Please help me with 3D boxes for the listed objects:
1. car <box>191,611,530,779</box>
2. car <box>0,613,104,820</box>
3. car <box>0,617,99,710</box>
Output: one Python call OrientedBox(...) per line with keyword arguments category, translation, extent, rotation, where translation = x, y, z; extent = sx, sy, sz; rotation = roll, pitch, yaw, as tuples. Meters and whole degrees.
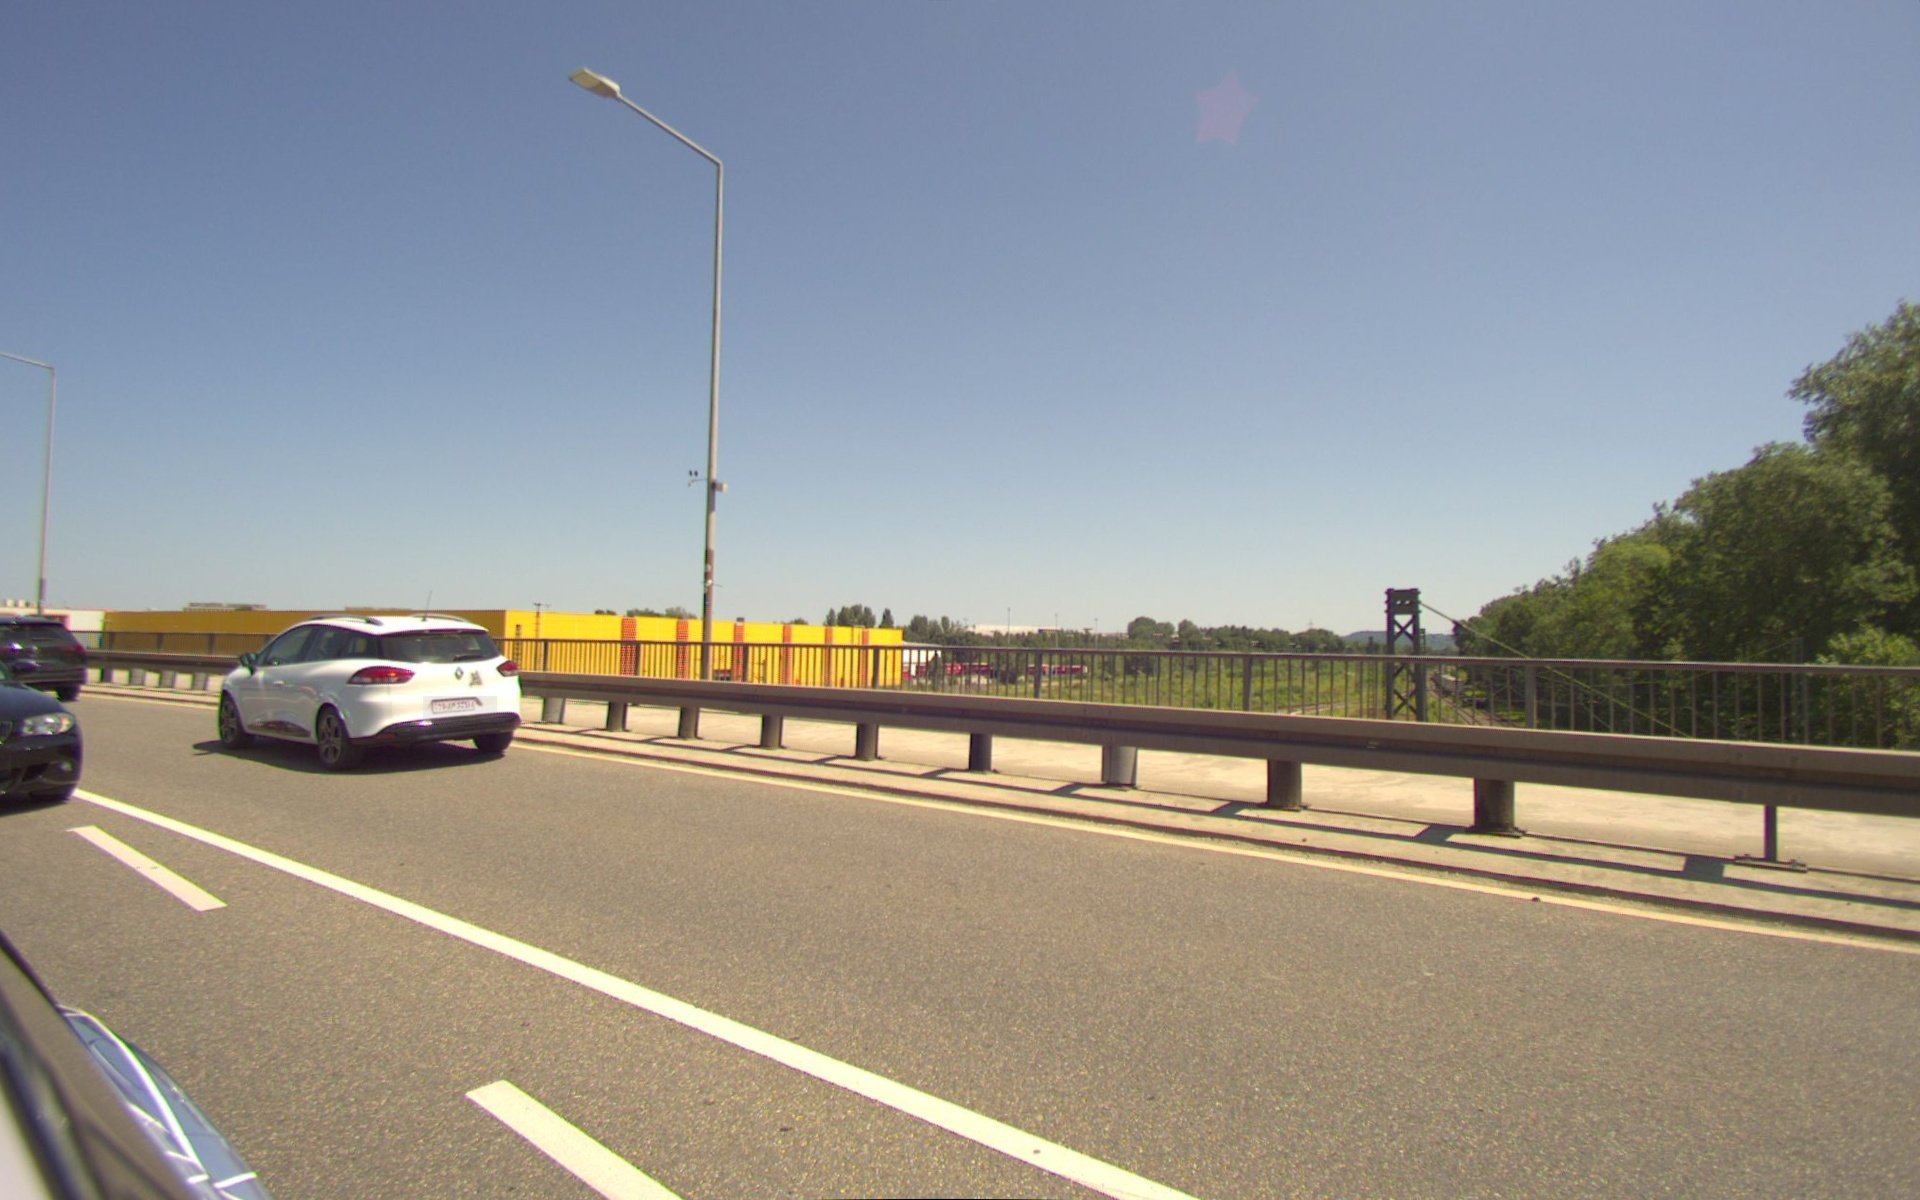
OrientedBox(category="car", translation=(-6.393, 0.867, 10.643), extent=(4.047, 1.460, 1.585), rotation=(-1, -2, 36))
OrientedBox(category="car", translation=(-8.814, 0.847, 8.221), extent=(4.513, 1.466, 1.774), rotation=(-1, -1, 35))
OrientedBox(category="car", translation=(-16.893, 1.052, 17.870), extent=(4.453, 1.480, 1.694), rotation=(-1, -1, 38))
